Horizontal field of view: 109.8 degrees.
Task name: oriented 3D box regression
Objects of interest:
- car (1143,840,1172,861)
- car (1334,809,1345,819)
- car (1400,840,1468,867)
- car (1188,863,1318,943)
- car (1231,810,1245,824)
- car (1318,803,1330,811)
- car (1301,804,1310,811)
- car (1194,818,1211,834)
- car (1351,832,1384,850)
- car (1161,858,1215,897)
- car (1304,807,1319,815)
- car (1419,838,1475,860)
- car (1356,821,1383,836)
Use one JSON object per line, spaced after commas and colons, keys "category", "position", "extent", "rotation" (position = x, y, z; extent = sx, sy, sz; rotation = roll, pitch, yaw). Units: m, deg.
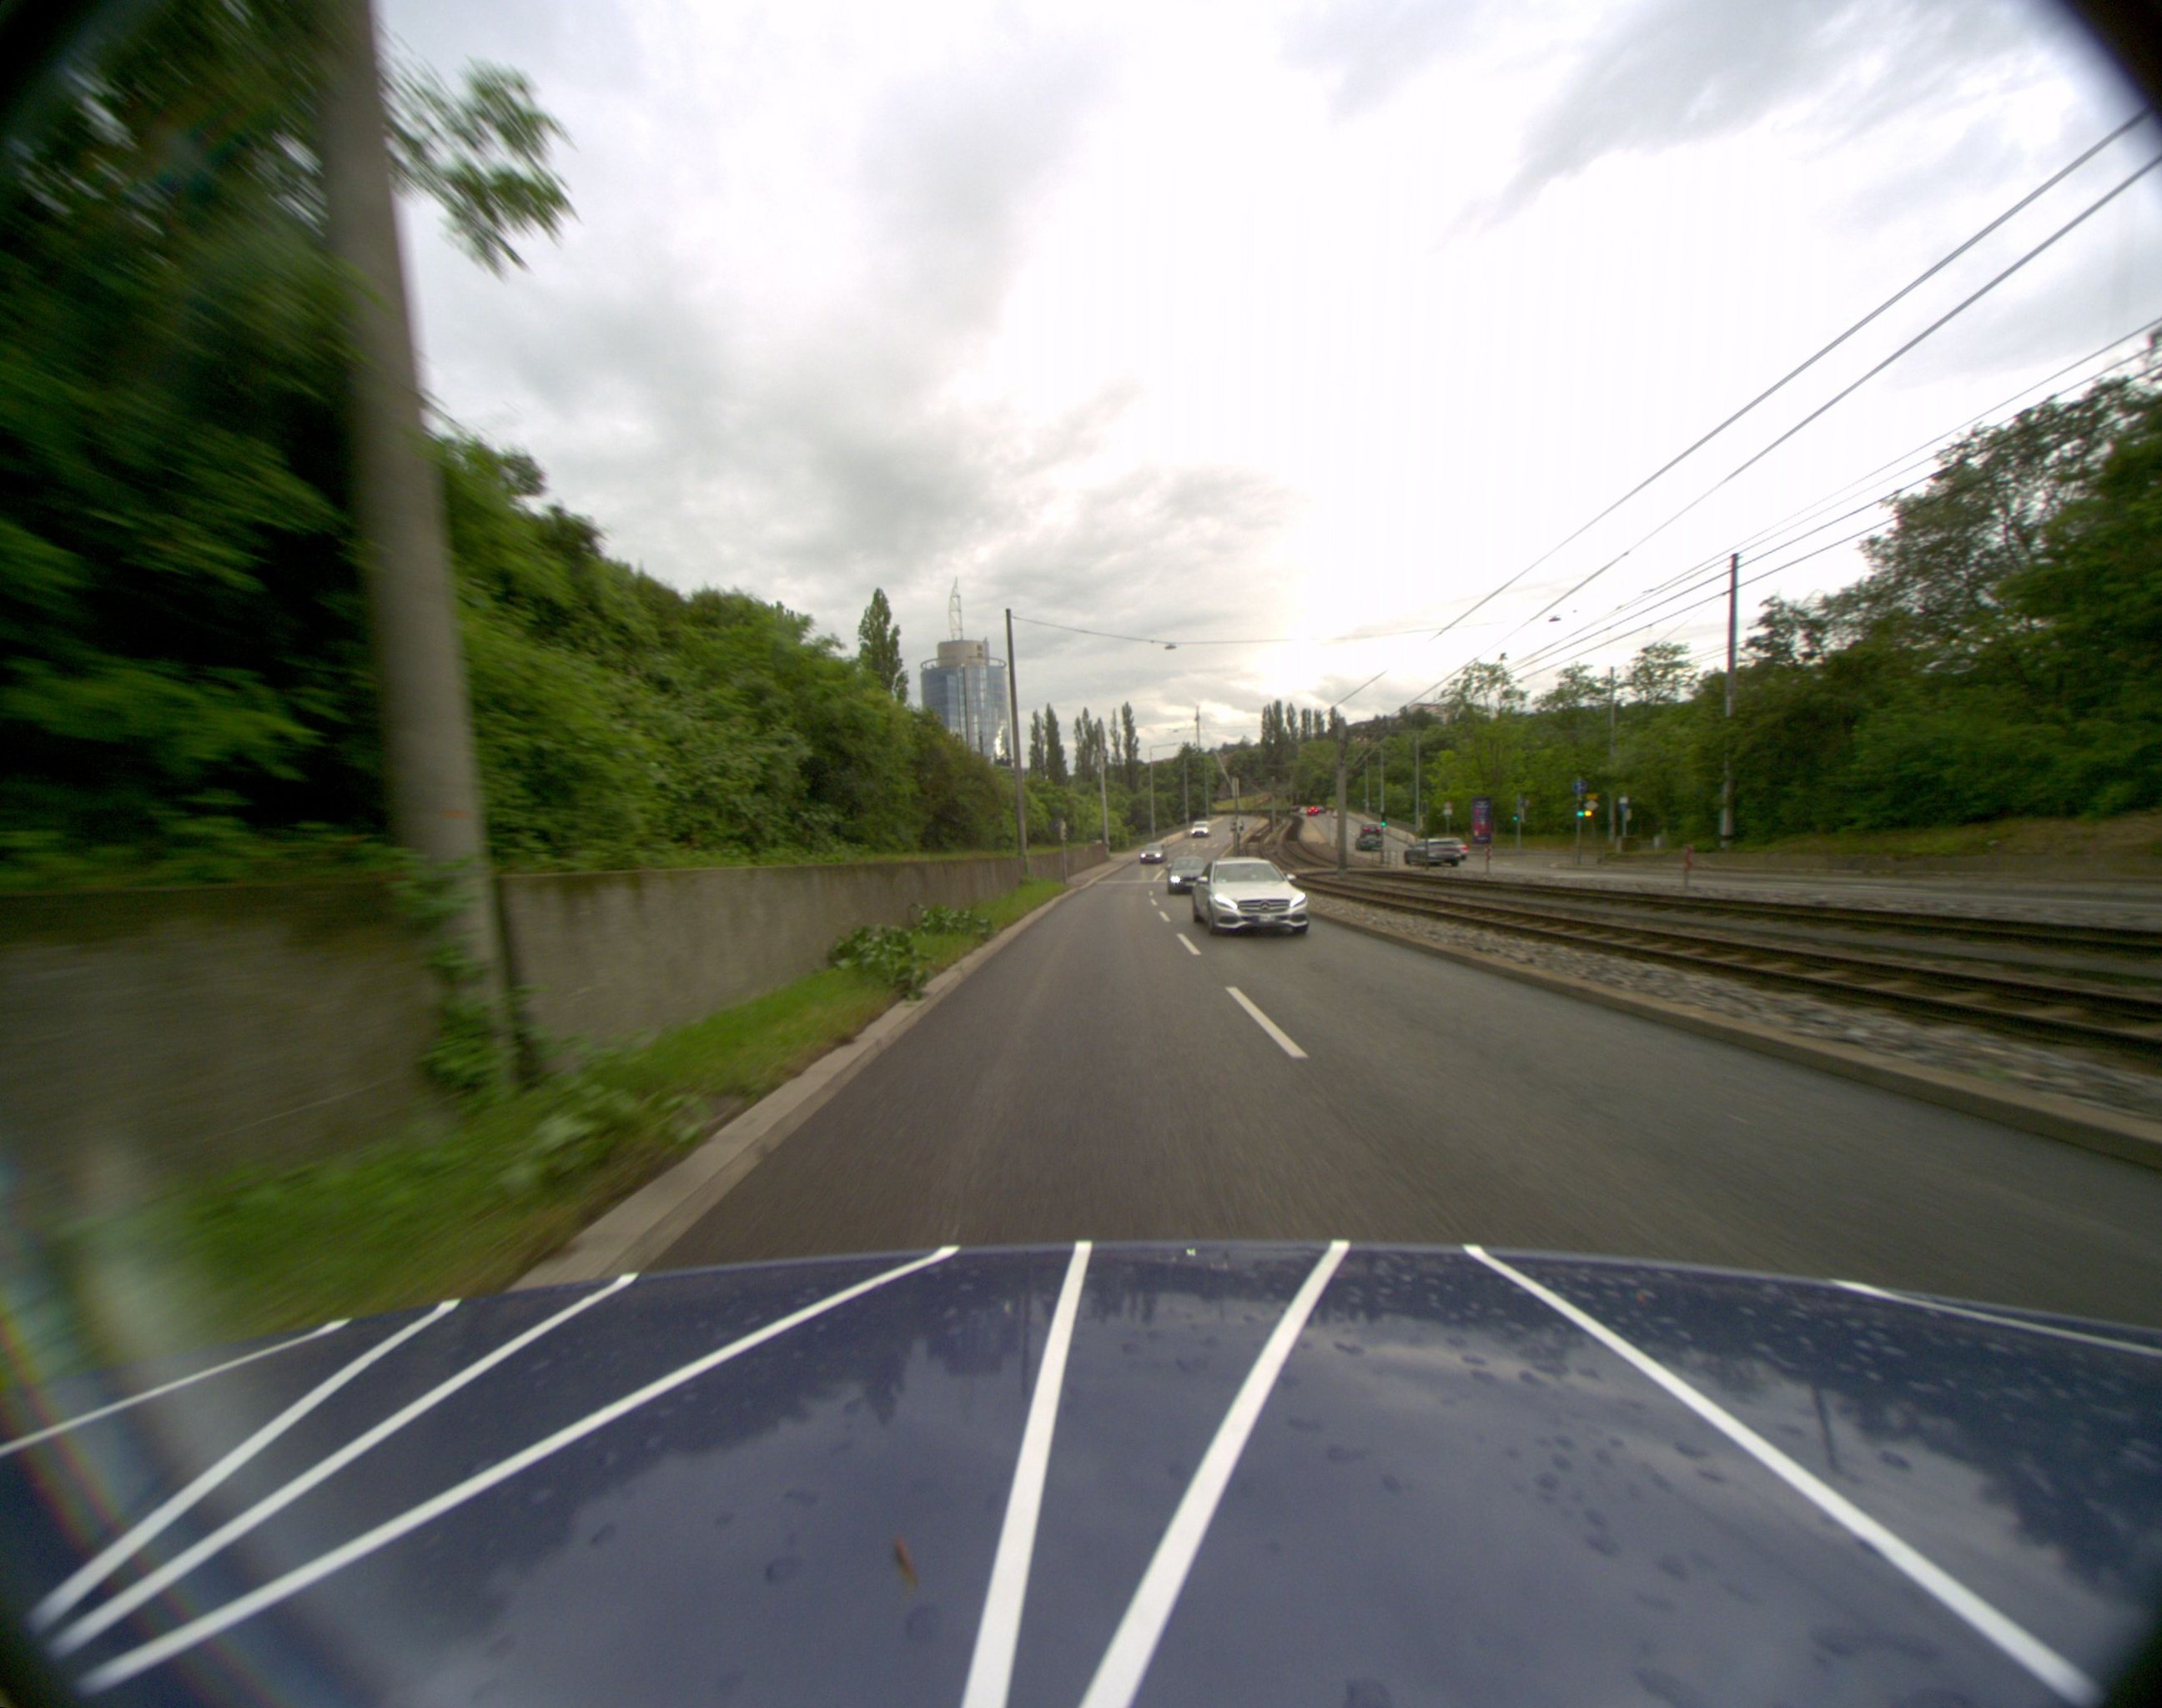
{"category": "car", "position": [5.954, -0.302, 58.985], "extent": [1.766, 1.493, 4.002], "rotation": [-2, 2, 12]}
{"category": "car", "position": [46.607, -7.285, 137.079], "extent": [1.823, 1.507, 4.531], "rotation": [-1, 5, 18]}
{"category": "car", "position": [19.351, -0.025, 41.894], "extent": [1.865, 1.430, 4.857], "rotation": [0, 0, 5]}
{"category": "car", "position": [3.356, 0.898, 15.588], "extent": [1.871, 1.348, 4.061], "rotation": [-2, 0, 3]}
{"category": "car", "position": [22.153, -5.160, 107.111], "extent": [1.766, 1.806, 4.003], "rotation": [-3, 1, 11]}
{"category": "car", "position": [52.825, -10.275, 165.395], "extent": [1.972, 1.589, 5.186], "rotation": [-1, 4, 13]}
{"category": "car", "position": [49.265, -10.176, 166.844], "extent": [1.732, 1.430, 4.492], "rotation": [-1, 5, 12]}
{"category": "car", "position": [15.065, -3.447, 94.136], "extent": [1.766, 1.806, 4.003], "rotation": [-3, 1, 11]}
{"category": "car", "position": [23.558, -1.080, 62.667], "extent": [1.636, 1.376, 3.895], "rotation": [0, 1, 6]}
{"category": "car", "position": [4.227, 0.905, 30.548], "extent": [1.735, 1.344, 4.000], "rotation": [-3, 0, 2]}
{"category": "car", "position": [46.678, -8.788, 153.932], "extent": [1.852, 1.589, 4.730], "rotation": [-1, 4, 5]}
{"category": "car", "position": [24.178, -0.338, 50.361], "extent": [1.823, 1.372, 4.707], "rotation": [-1, 0, 6]}
{"category": "car", "position": [31.494, -2.799, 83.019], "extent": [1.719, 1.451, 4.274], "rotation": [-2, 4, 6]}
